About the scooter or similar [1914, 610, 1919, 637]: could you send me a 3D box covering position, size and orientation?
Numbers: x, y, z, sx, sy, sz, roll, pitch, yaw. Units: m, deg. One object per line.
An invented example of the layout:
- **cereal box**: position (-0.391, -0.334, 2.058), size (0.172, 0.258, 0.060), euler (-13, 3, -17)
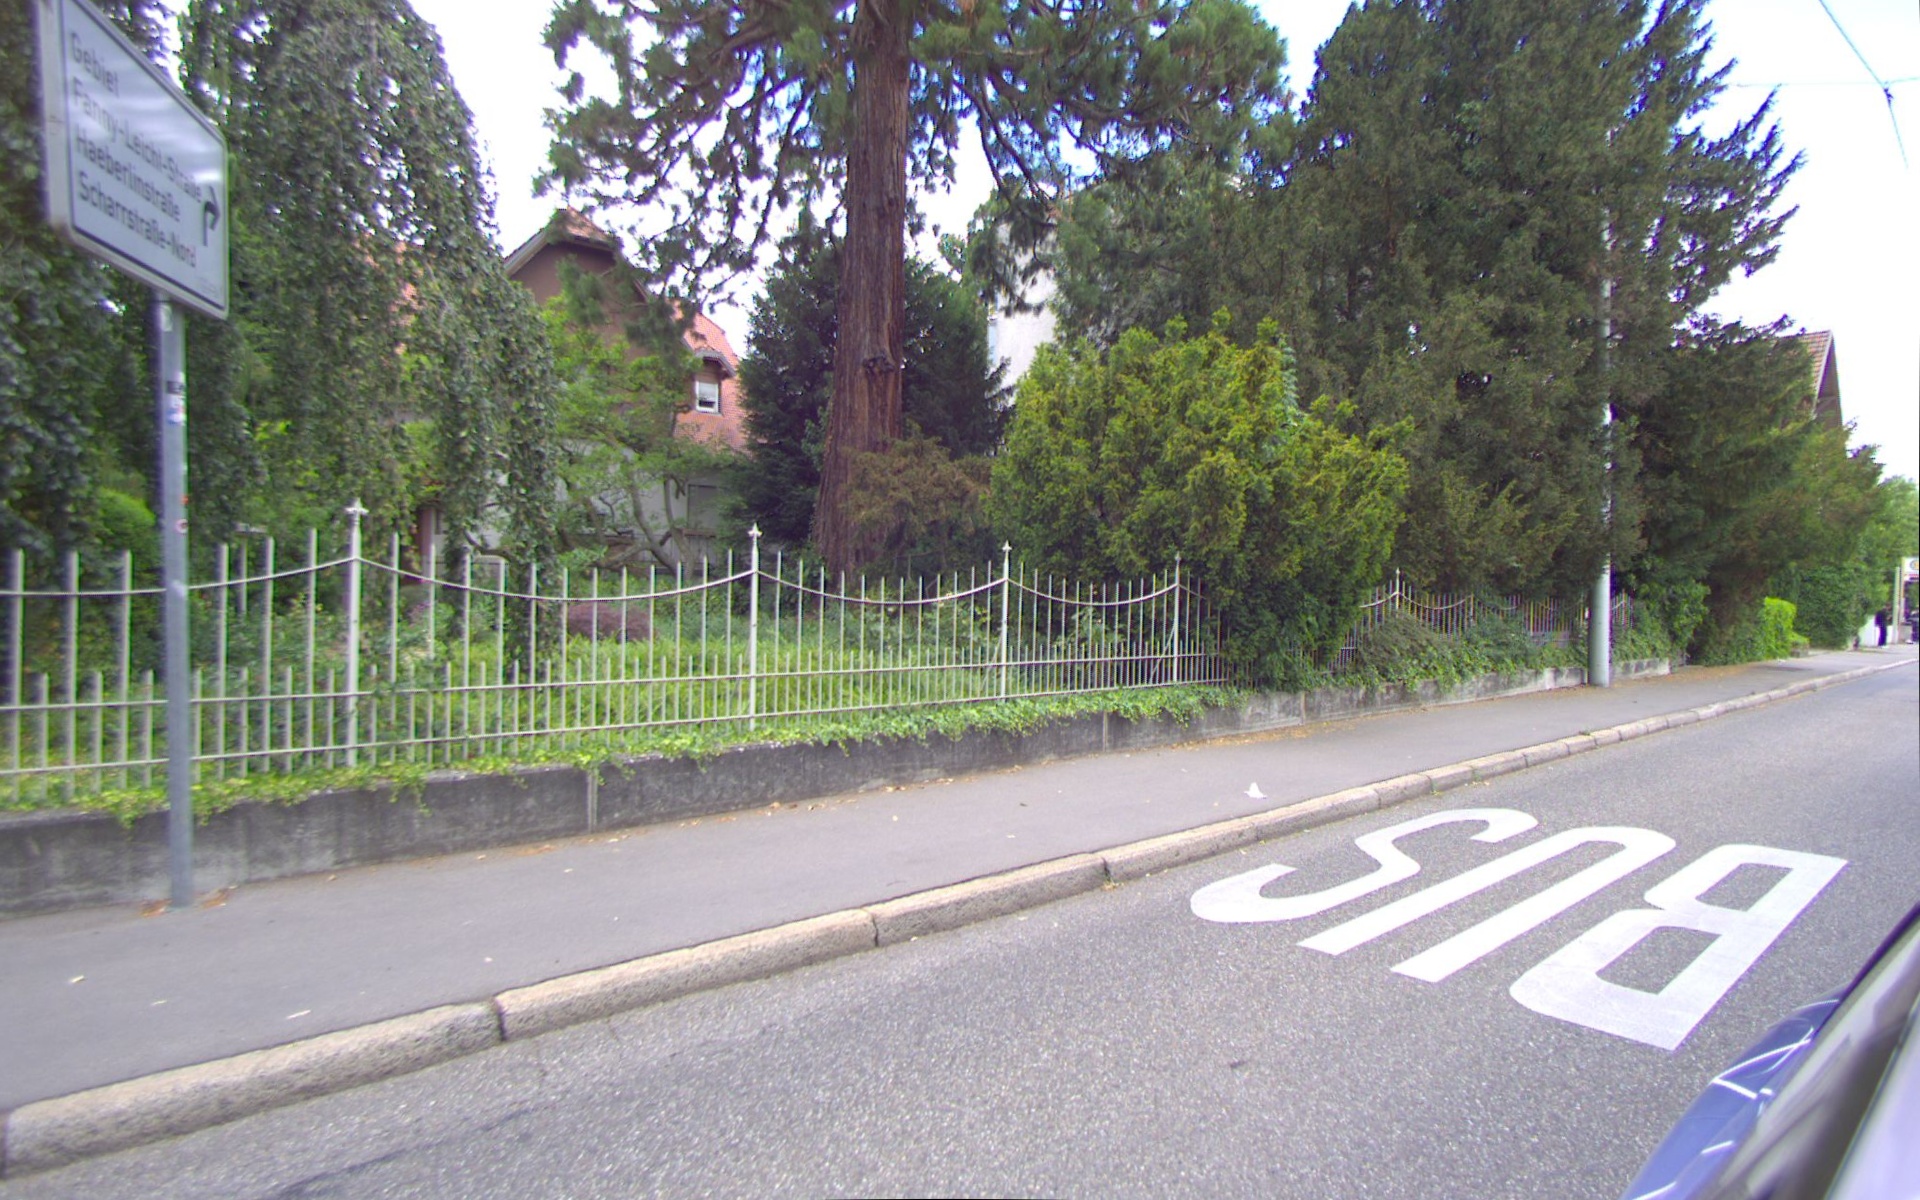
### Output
- **scooter or similar**: position (40.390, 1.003, 42.100), size (0.842, 1.110, 0.479), euler (4, 3, 2)

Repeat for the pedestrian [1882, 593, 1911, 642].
- **pedestrian**: position (34.583, 0.631, 37.368), size (0.657, 1.789, 0.491), euler (0, 0, -9)
